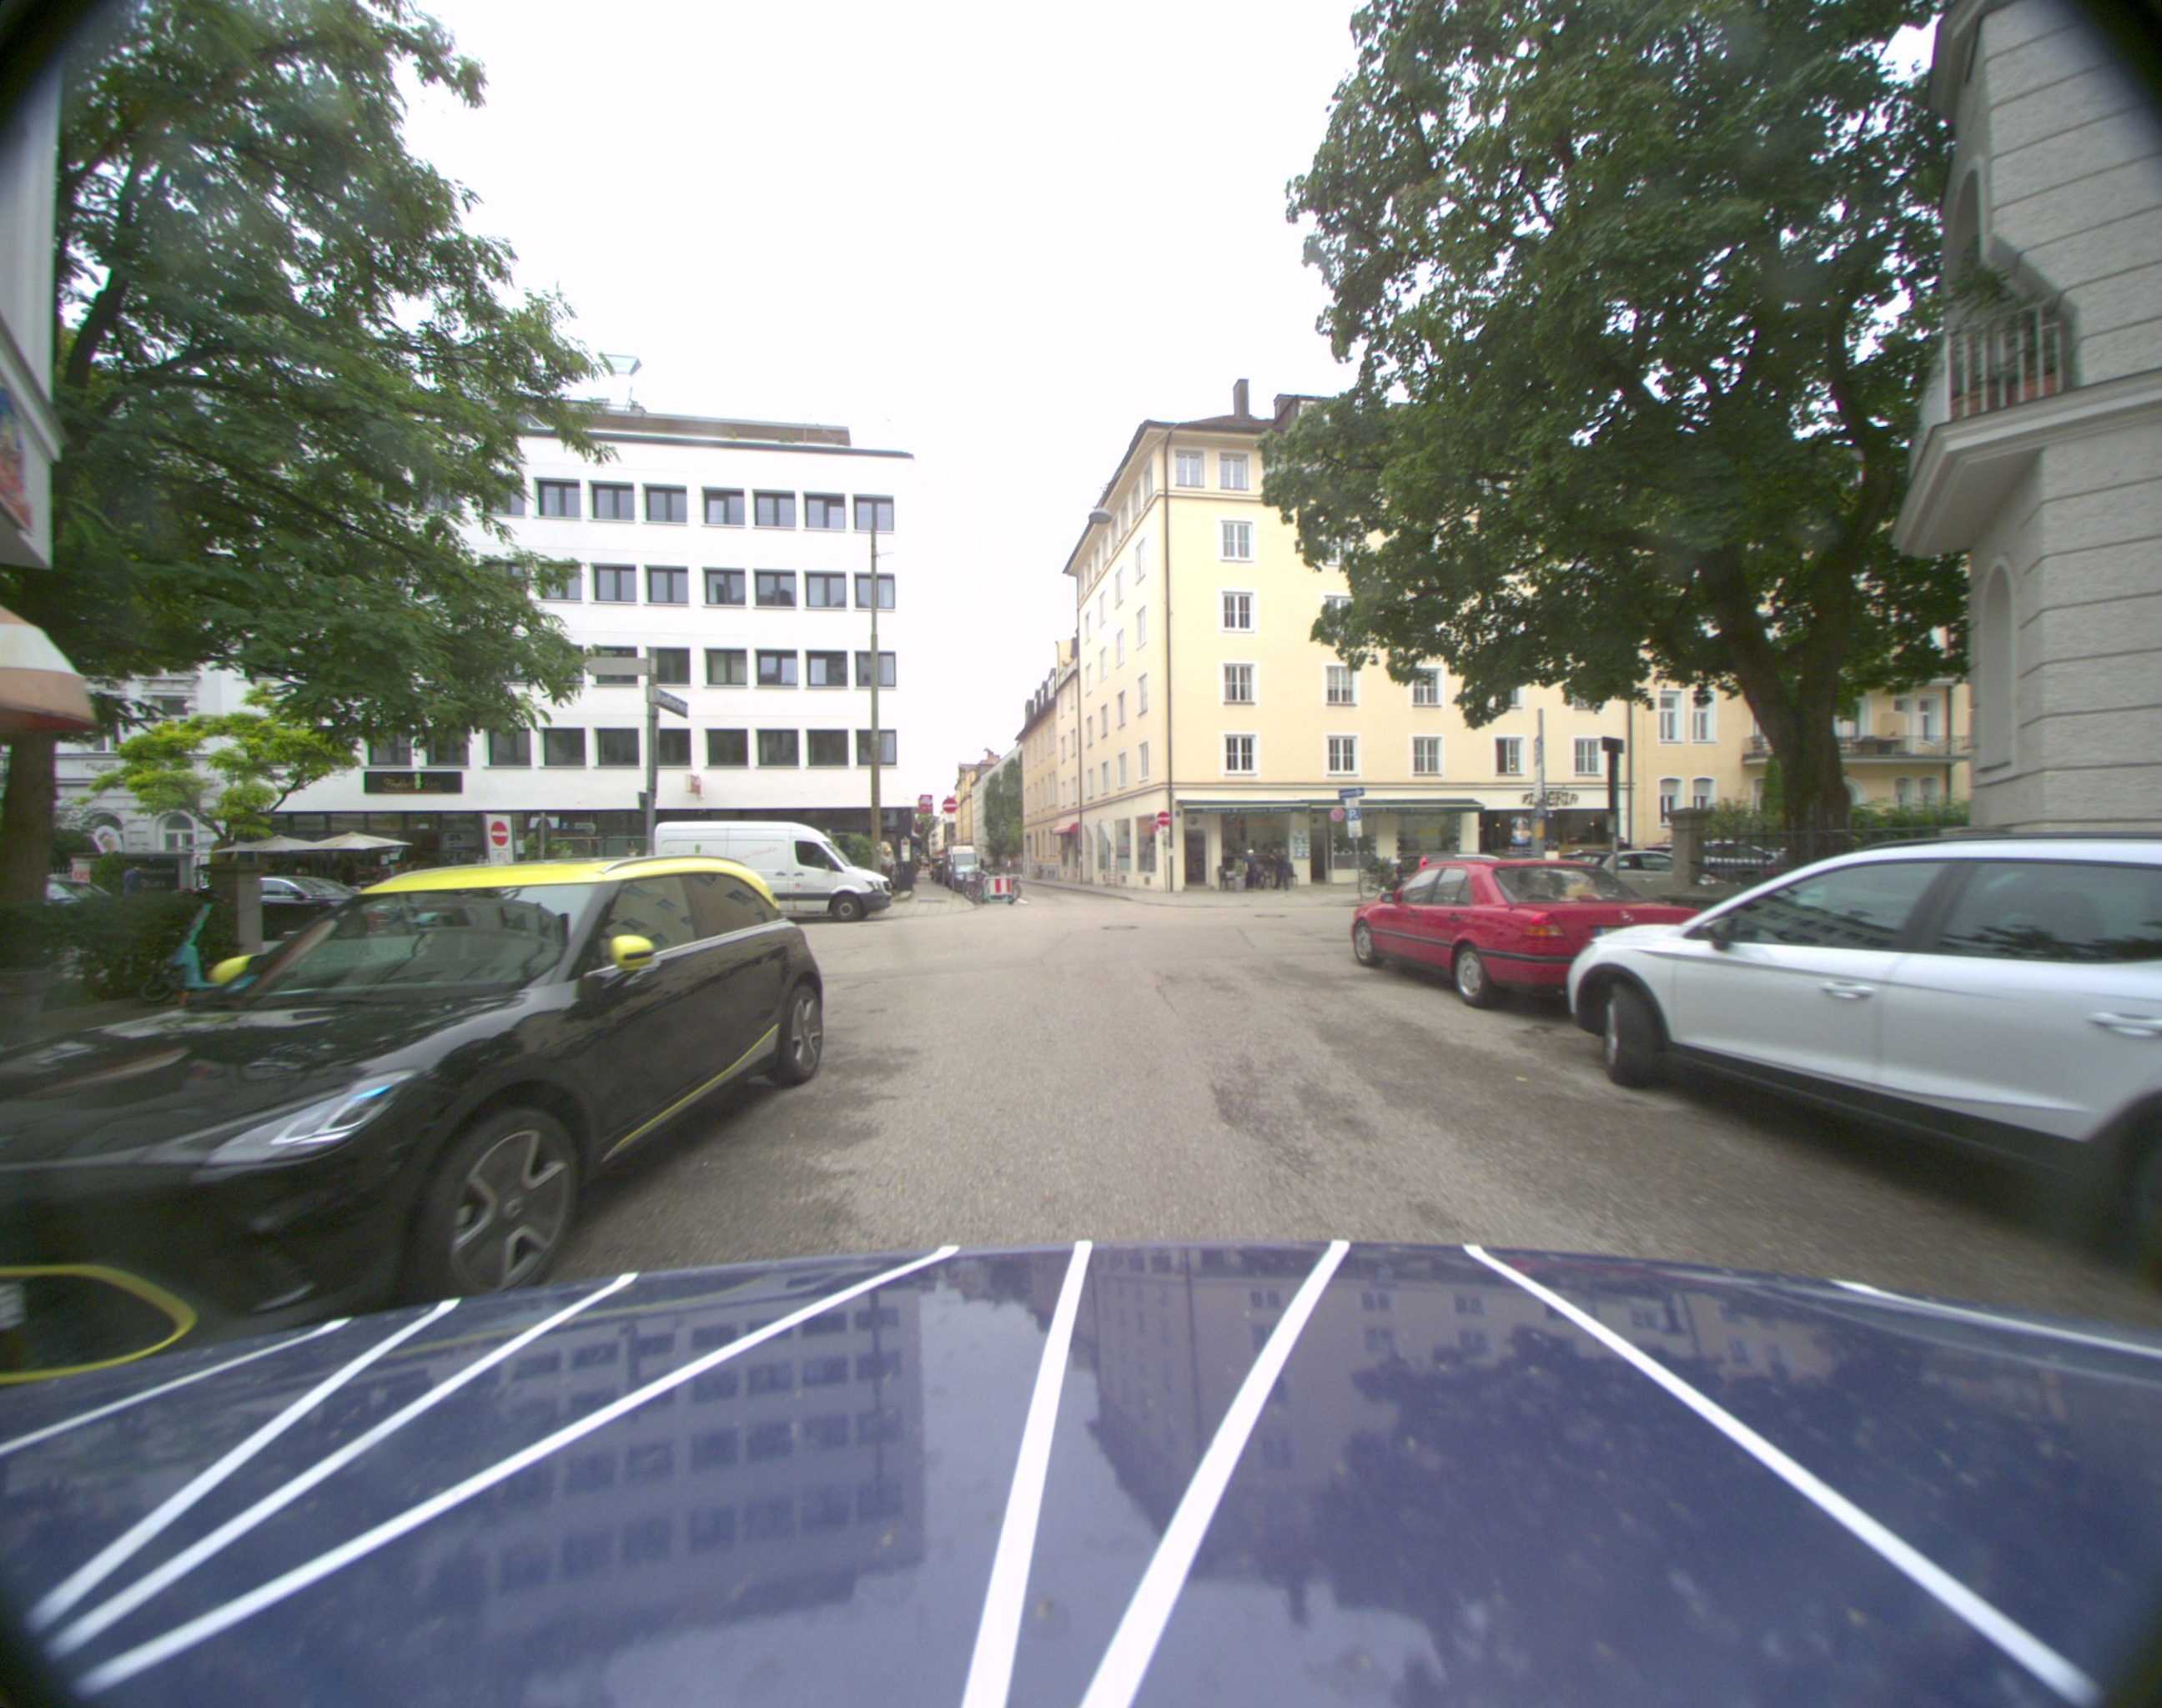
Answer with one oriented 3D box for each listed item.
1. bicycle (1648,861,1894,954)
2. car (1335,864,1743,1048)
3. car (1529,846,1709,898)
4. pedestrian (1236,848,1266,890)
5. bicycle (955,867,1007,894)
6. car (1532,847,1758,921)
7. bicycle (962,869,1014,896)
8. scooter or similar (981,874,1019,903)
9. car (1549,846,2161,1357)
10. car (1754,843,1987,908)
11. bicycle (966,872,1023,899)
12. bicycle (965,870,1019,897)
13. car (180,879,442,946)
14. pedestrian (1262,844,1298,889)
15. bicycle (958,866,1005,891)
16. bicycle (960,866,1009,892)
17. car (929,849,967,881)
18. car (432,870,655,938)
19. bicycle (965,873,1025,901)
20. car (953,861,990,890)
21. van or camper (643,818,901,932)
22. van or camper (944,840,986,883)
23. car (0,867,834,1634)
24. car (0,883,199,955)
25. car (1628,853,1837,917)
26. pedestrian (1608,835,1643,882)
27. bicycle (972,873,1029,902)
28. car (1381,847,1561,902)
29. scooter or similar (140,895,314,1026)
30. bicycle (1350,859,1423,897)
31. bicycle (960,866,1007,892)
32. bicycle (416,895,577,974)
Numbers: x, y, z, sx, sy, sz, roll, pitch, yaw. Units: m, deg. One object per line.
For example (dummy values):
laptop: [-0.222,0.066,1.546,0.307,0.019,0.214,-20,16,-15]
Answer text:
bicycle: [9.935,0.703,11.147,0.807,1.157,2.648,-1,0,-15]
car: [4.385,0.836,8.256,1.685,1.385,4.478,-1,0,-1]
car: [16.801,0.573,23.842,4.432,1.417,2.000,-1,-4,-10]
pedestrian: [6.671,0.591,29.873,0.920,1.601,0.777,-1,1,31]
bicycle: [-4.442,1.167,33.749,2.209,1.139,0.739,-1,0,-11]
car: [12.665,0.626,17.198,4.000,1.450,1.792,-1,2,-8]
bicycle: [-3.981,1.203,32.439,2.154,1.026,0.974,-1,0,-11]
scooter or similar: [-2.852,1.213,26.803,1.283,0.970,0.498,-1,1,-11]
car: [4.168,0.767,3.288,1.699,1.559,3.949,-1,1,-3]
car: [18.418,0.467,17.818,4.000,1.353,1.793,-1,1,-8]
bicycle: [-3.446,1.233,30.234,2.175,0.958,0.974,-1,0,-11]
bicycle: [-3.675,1.207,31.313,2.106,1.026,0.974,-1,0,-11]
car: [-18.221,1.374,18.186,4.169,1.381,1.795,-1,-3,-7]
pedestrian: [7.670,0.474,29.352,1.124,1.667,0.871,-1,1,-1]
bicycle: [-4.902,1.215,37.378,2.208,1.139,0.638,-1,0,-11]
bicycle: [-4.492,1.162,35.338,2.182,1.139,0.674,-1,0,-11]
car: [-9.252,0.737,52.586,2.002,2.121,3.994,-1,0,-18]
car: [-13.261,1.235,19.016,4.146,1.476,1.892,-1,-3,-11]
bicycle: [-3.298,1.244,29.084,2.178,0.971,0.974,-1,0,-11]
car: [-5.836,1.082,40.099,1.760,1.386,3.996,-1,0,-10]
van or camper: [-7.930,0.556,20.105,5.870,2.697,2.304,-1,-2,-7]
van or camper: [-7.307,0.449,47.236,1.968,2.494,5.716,-1,0,-14]
car: [-2.905,0.963,3.739,1.841,1.609,4.095,-4,0,2]
car: [-23.578,1.485,17.581,3.999,1.528,1.768,-1,-2,-6]
car: [17.546,0.789,20.555,4.494,1.513,1.834,-1,0,-9]
pedestrian: [21.117,0.184,29.470,0.781,1.779,0.855,-2,1,-33]
bicycle: [-2.975,1.220,27.937,1.995,0.958,0.973,-1,0,-11]
car: [11.797,0.649,23.147,4.490,1.473,2.028,-1,-4,-10]
scooter or similar: [-9.343,1.117,8.353,0.399,1.262,1.183,-1,0,30]
bicycle: [9.931,0.755,24.763,2.149,1.195,0.811,0,1,21]
bicycle: [-4.696,1.202,36.642,2.206,1.139,0.695,-1,0,-11]
bicycle: [-8.976,1.223,11.701,2.009,1.123,0.687,-1,0,6]
